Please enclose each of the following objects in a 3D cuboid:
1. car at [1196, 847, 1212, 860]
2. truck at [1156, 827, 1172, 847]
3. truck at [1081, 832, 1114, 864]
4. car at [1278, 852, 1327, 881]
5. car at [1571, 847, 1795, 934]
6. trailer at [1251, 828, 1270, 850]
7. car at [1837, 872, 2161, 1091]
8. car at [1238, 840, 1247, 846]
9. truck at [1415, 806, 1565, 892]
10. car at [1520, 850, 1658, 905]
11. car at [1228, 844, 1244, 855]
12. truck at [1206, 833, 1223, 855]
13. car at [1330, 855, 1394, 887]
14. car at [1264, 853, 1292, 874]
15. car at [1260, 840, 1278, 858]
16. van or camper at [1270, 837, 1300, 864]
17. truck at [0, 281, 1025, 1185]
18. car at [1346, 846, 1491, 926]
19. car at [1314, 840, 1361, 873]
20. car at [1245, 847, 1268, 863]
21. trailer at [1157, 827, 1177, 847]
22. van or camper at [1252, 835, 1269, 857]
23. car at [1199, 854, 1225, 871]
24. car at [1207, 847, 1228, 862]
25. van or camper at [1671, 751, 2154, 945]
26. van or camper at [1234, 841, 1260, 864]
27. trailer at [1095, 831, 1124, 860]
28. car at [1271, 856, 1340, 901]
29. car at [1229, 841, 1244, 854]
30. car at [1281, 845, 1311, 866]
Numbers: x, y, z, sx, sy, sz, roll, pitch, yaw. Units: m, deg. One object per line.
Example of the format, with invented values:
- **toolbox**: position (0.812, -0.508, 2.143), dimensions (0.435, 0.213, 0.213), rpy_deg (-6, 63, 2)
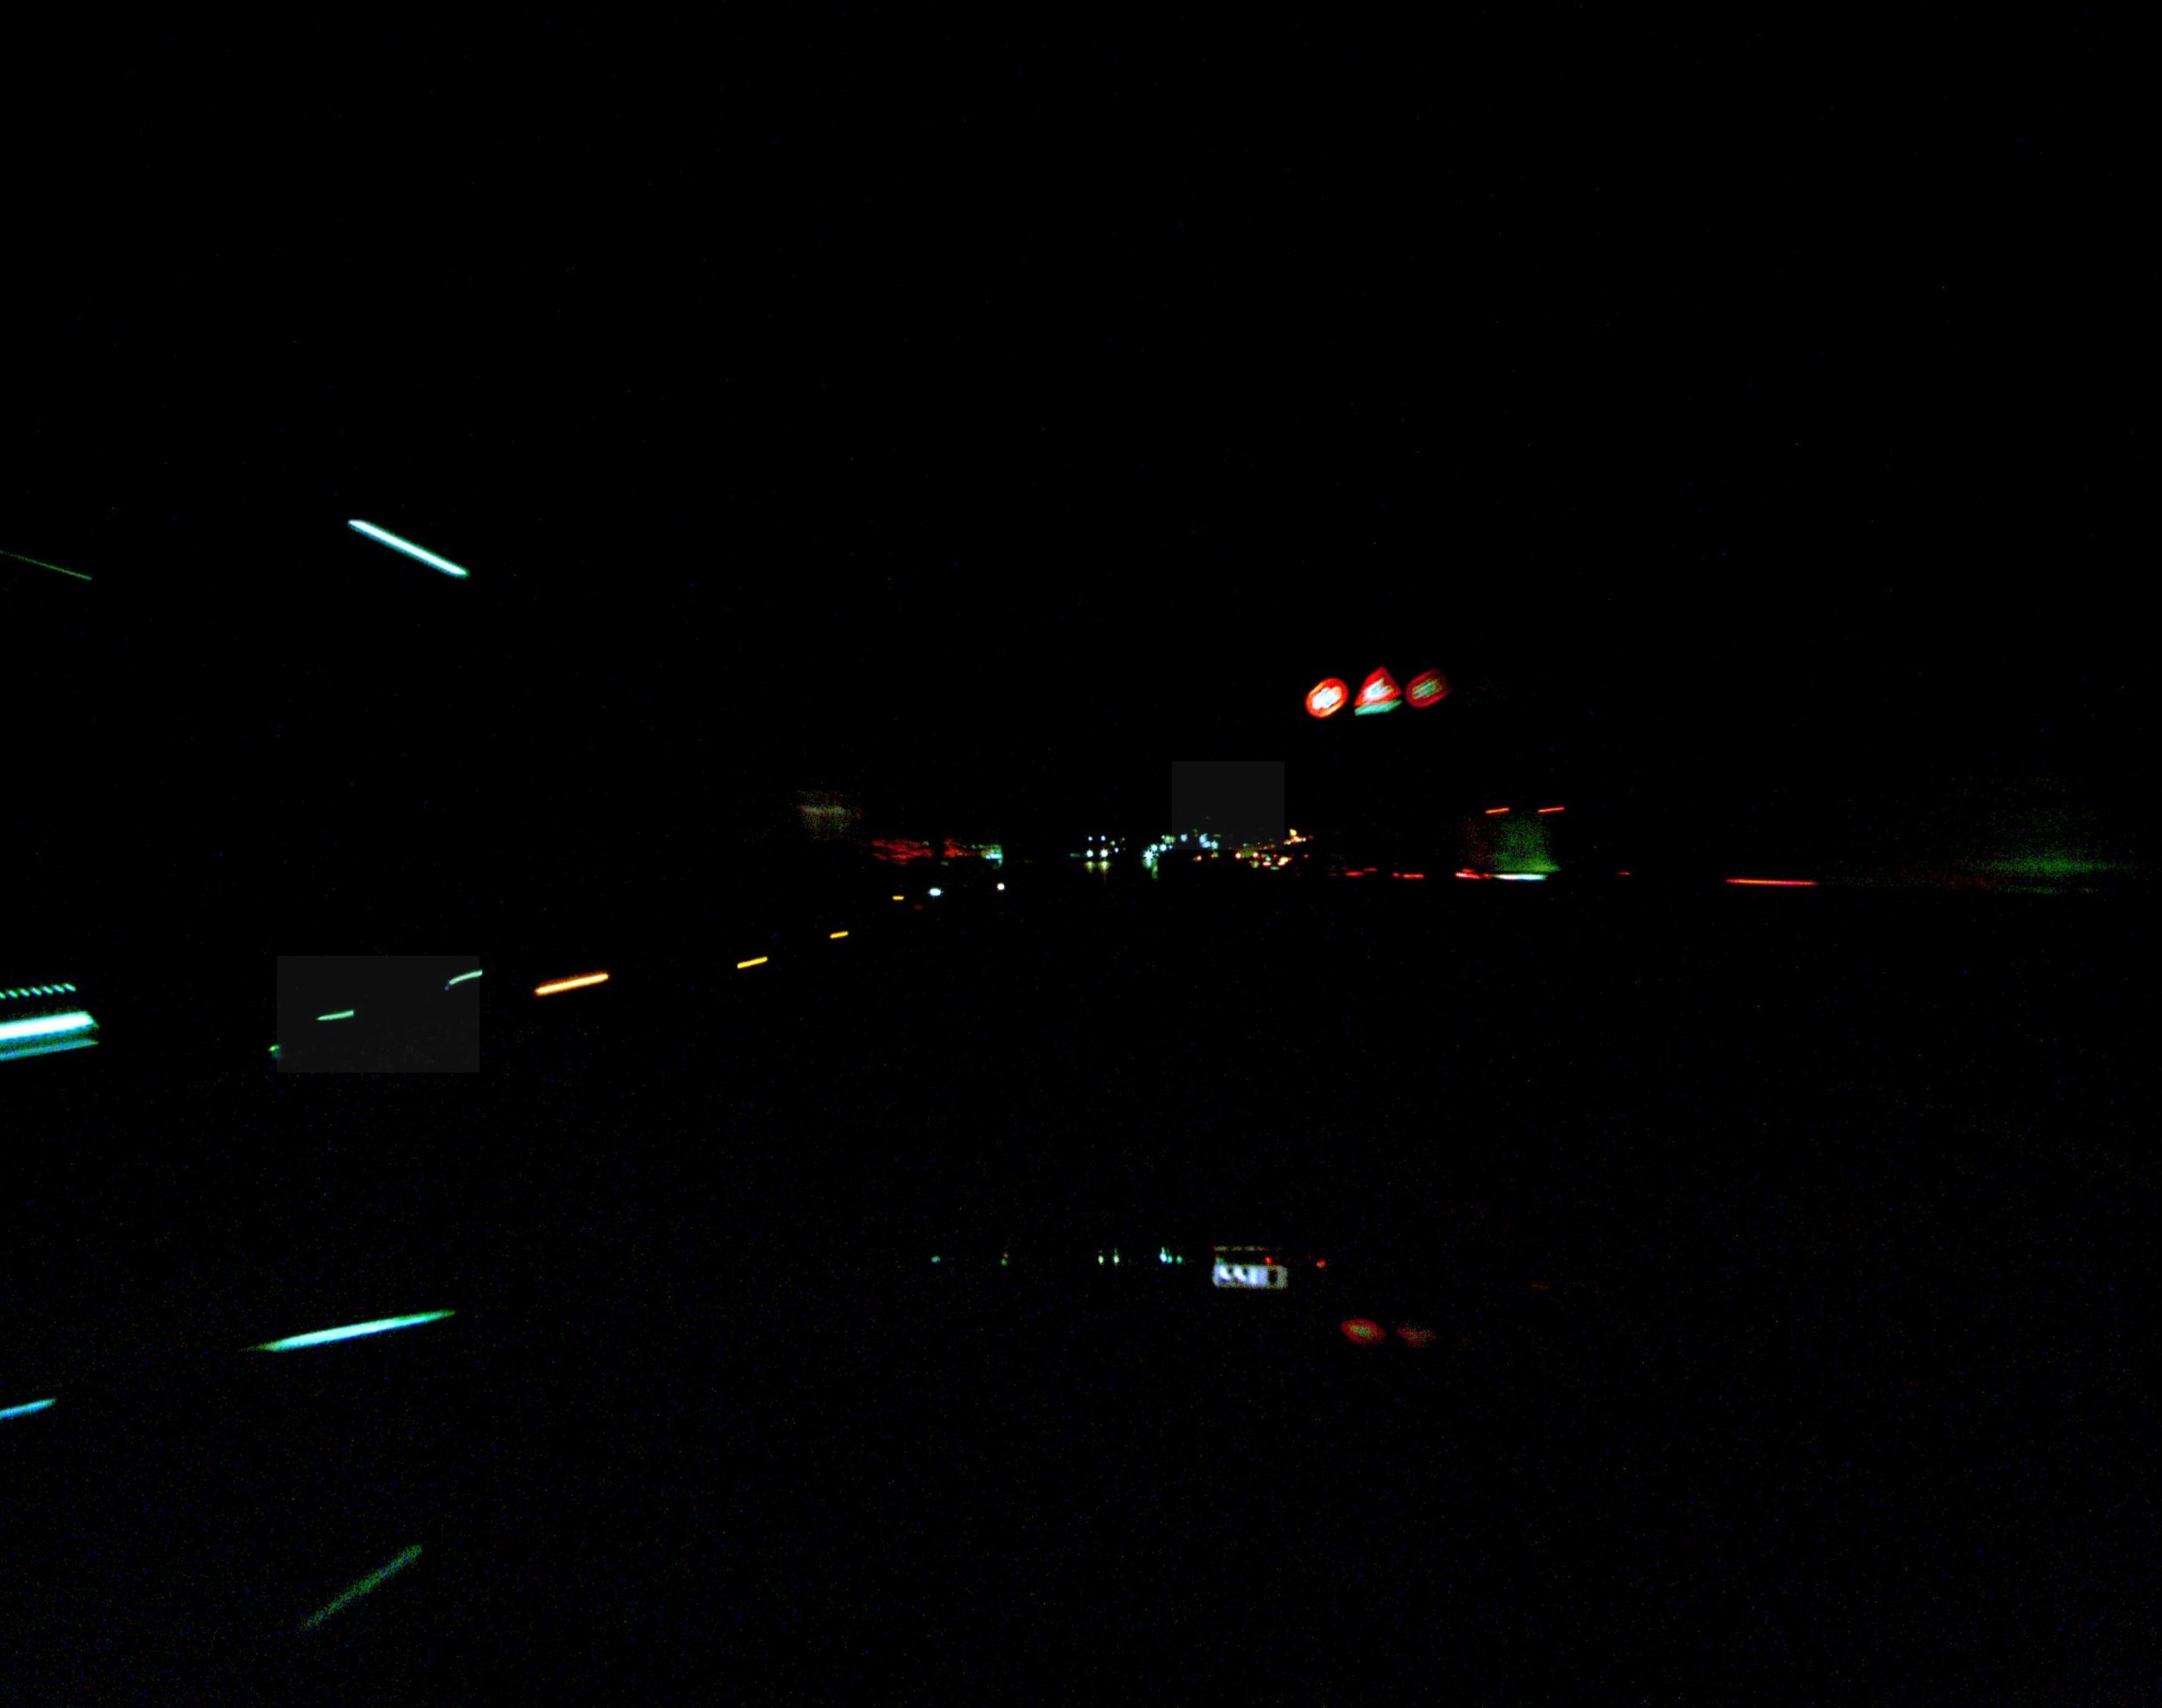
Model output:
- **car**: position (15.234, -0.060, 94.339), dimensions (1.837, 1.443, 4.507), rpy_deg (-1, 2, 8)
- **truck**: position (17.628, -3.623, 161.435), dimensions (2.898, 3.950, 4.002), rpy_deg (-2, 2, 11)
- **truck**: position (2.446, -0.901, 106.242), dimensions (2.872, 3.819, 8.057), rpy_deg (-4, 2, 12)
- **car**: position (13.930, 0.762, 48.084), dimensions (1.998, 1.651, 4.454), rpy_deg (-1, 1, 3)
- **car**: position (12.220, 0.654, 15.806), dimensions (1.644, 1.531, 4.000), rpy_deg (-1, 1, 3)
- **trailer**: position (36.507, -3.200, 153.978), dimensions (3.440, 4.217, 12.842), rpy_deg (0, 2, 14)
- **car**: position (7.293, 0.803, 5.083), dimensions (1.421, 1.249, 3.129), rpy_deg (-1, 0, 2)
- **car**: position (44.238, -3.040, 208.171), dimensions (2.142, 1.696, 5.116), rpy_deg (-1, 2, 14)
- **truck**: position (17.180, -0.259, 32.628), dimensions (2.381, 3.241, 7.722), rpy_deg (0, 1, 1)
- **car**: position (16.158, 0.673, 24.492), dimensions (1.644, 1.531, 4.438), rpy_deg (-1, 1, 3)
- **car**: position (21.273, -0.629, 104.511), dimensions (1.837, 1.443, 4.507), rpy_deg (-1, 2, 8)
- **truck**: position (23.554, -1.750, 134.251), dimensions (2.659, 3.571, 8.553), rpy_deg (-3, 2, 10)
- **car**: position (12.811, 0.753, 34.881), dimensions (1.537, 1.328, 4.221), rpy_deg (-1, 0, 3)
- **car**: position (15.271, 0.684, 59.020), dimensions (1.609, 1.471, 4.075), rpy_deg (0, 1, 8)
- **car**: position (25.428, -0.687, 102.724), dimensions (1.837, 2.357, 5.449), rpy_deg (-1, 2, 8)
- **van or camper**: position (22.027, -0.408, 82.247), dimensions (2.450, 2.745, 6.491), rpy_deg (-1, 2, 8)
- **truck**: position (-3.867, -0.530, 12.890), dimensions (3.490, 4.110, 18.712), rpy_deg (-1, 0, 3)
- **car**: position (8.358, 0.690, 19.346), dimensions (1.811, 1.731, 4.868), rpy_deg (-1, 1, 4)
- **car**: position (18.292, 0.167, 54.386), dimensions (2.135, 2.254, 4.564), rpy_deg (0, 1, 4)
- **car**: position (17.446, 0.078, 75.505), dimensions (1.752, 1.445, 3.841), rpy_deg (0, 2, 6)
- **trailer**: position (19.164, -3.898, 168.894), dimensions (2.837, 3.952, 15.772), rpy_deg (-3, 2, 12)
- **van or camper**: position (29.136, -1.312, 123.421), dimensions (2.273, 3.360, 5.697), rpy_deg (-1, 2, 8)
- **car**: position (10.966, 0.696, 63.859), dimensions (1.758, 1.347, 4.636), rpy_deg (-1, 0, 5)
- **car**: position (14.674, 0.079, 82.140), dimensions (1.758, 1.536, 4.716), rpy_deg (-1, 0, 4)
- **van or camper**: position (15.729, -0.099, 15.414), dimensions (2.227, 2.986, 7.125), rpy_deg (-1, 0, 3)
- **van or camper**: position (18.916, -0.229, 86.957), dimensions (2.259, 2.580, 6.688), rpy_deg (0, 1, 7)
- **trailer**: position (4.454, -1.417, 115.862), dimensions (2.880, 3.910, 12.889), rpy_deg (-3, 2, 9)
- **car**: position (8.631, 0.900, 29.528), dimensions (1.684, 1.557, 4.001), rpy_deg (-1, 0, 3)
- **car**: position (26.153, -1.142, 128.057), dimensions (1.997, 2.002, 4.001), rpy_deg (-2, 1, 6)
- **car**: position (21.116, 0.122, 74.896), dimensions (1.997, 1.948, 4.988), rpy_deg (0, 1, 6)
